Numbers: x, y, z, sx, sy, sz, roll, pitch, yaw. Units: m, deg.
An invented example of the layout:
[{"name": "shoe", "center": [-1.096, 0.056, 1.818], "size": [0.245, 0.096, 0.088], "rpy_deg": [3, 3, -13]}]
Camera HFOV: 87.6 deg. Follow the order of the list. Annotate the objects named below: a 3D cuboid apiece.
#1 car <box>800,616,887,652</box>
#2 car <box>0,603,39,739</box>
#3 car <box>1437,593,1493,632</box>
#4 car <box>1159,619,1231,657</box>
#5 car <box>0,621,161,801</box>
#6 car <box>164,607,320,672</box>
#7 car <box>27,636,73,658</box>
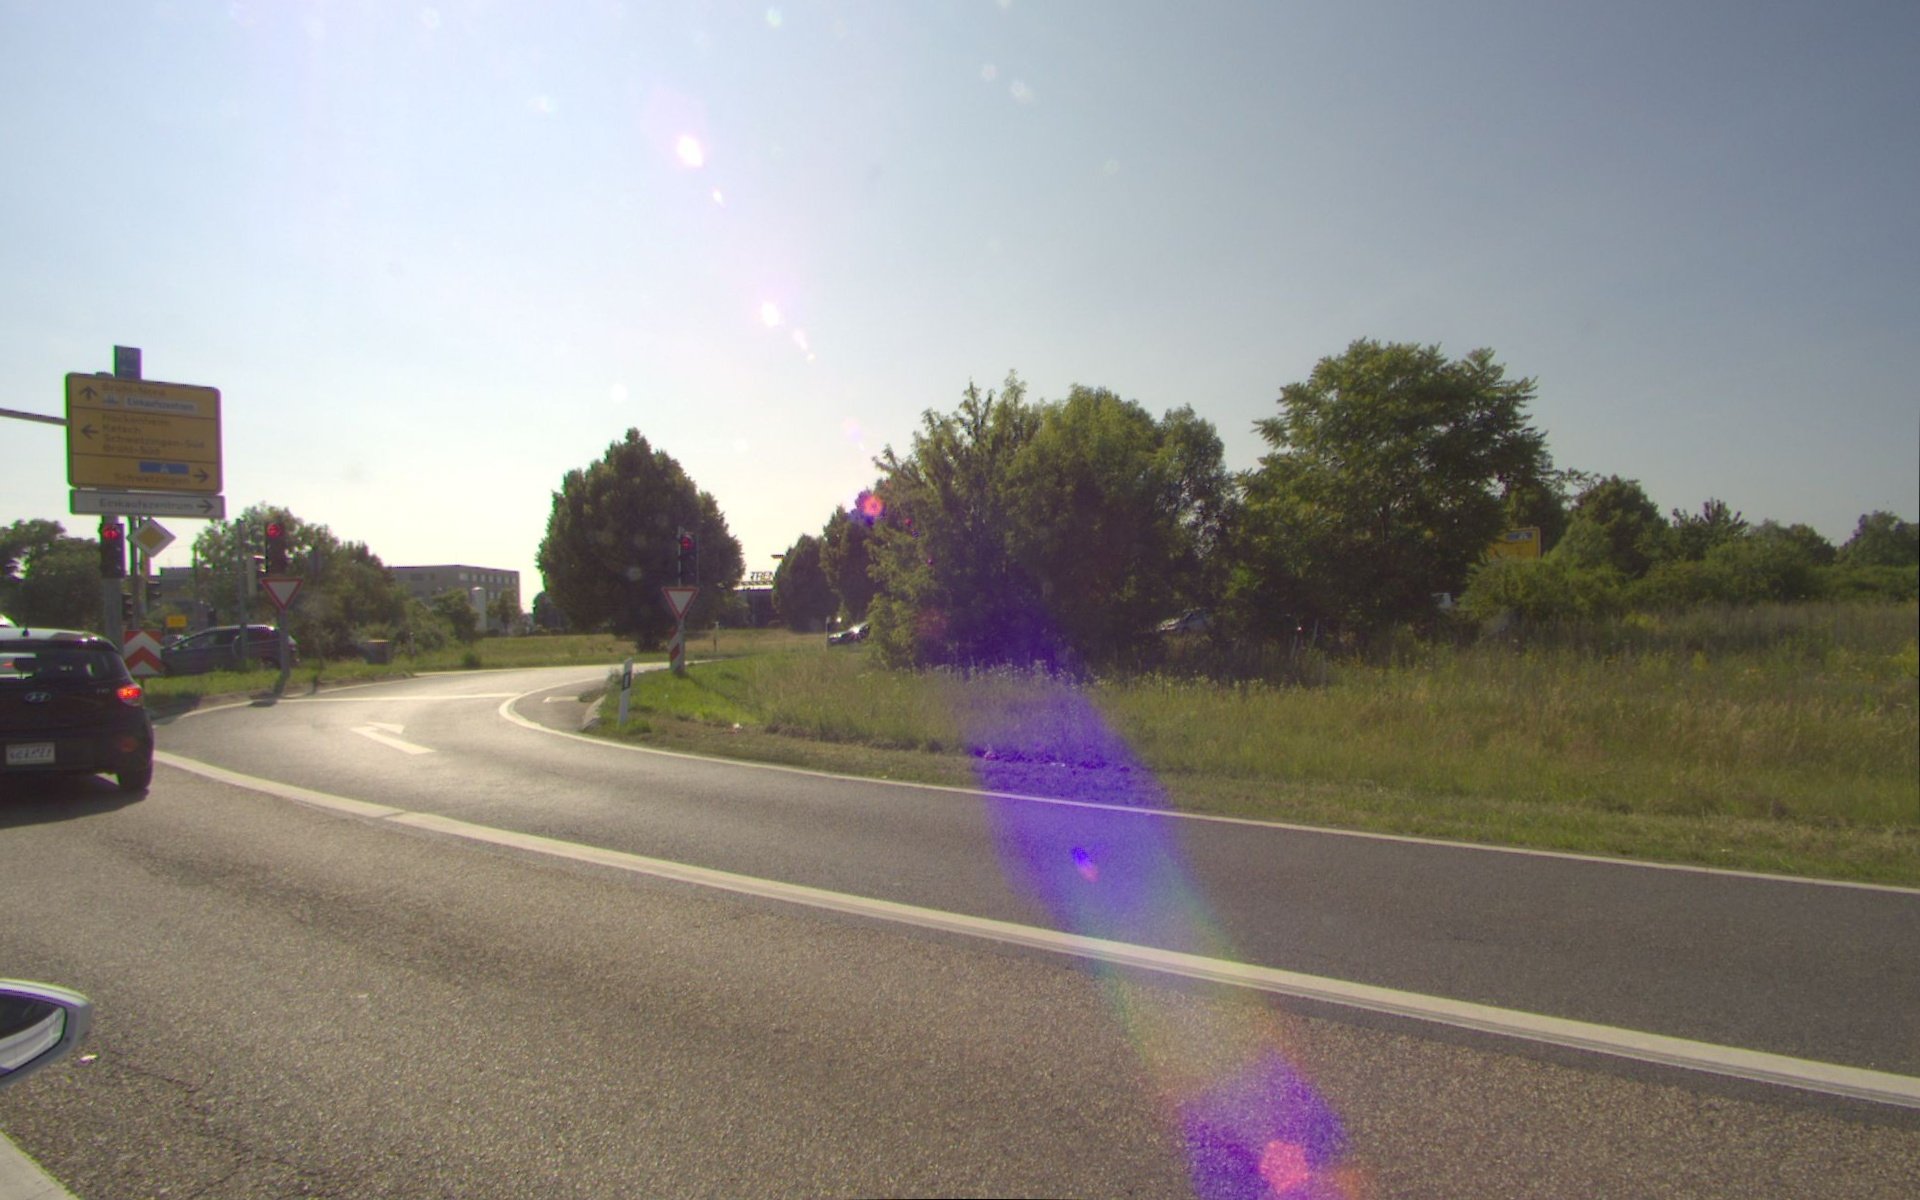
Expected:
[{"name": "car", "center": [-5.106, 1.499, 43.910], "size": [3.495, 1.535, 1.455], "rpy_deg": [1, -2, -30]}, {"name": "car", "center": [-13.671, 0.920, 13.295], "size": [3.705, 1.698, 1.626], "rpy_deg": [-2, -2, 39]}, {"name": "car", "center": [33.418, 0.833, 66.228], "size": [3.851, 2.467, 1.455], "rpy_deg": [1, -2, -30]}, {"name": "car", "center": [12.784, 2.070, 54.410], "size": [3.698, 1.977, 1.688], "rpy_deg": [1, -2, -30]}, {"name": "car", "center": [-8.903, 0.935, 9.339], "size": [3.255, 1.467, 1.626], "rpy_deg": [-1, -2, 39]}, {"name": "car", "center": [-23.319, 1.248, 32.726], "size": [3.963, 1.978, 1.687], "rpy_deg": [0, -1, -31]}, {"name": "car", "center": [-72.367, 3.749, 79.695], "size": [1.855, 1.694, 3.753], "rpy_deg": [1, -2, -28]}]
